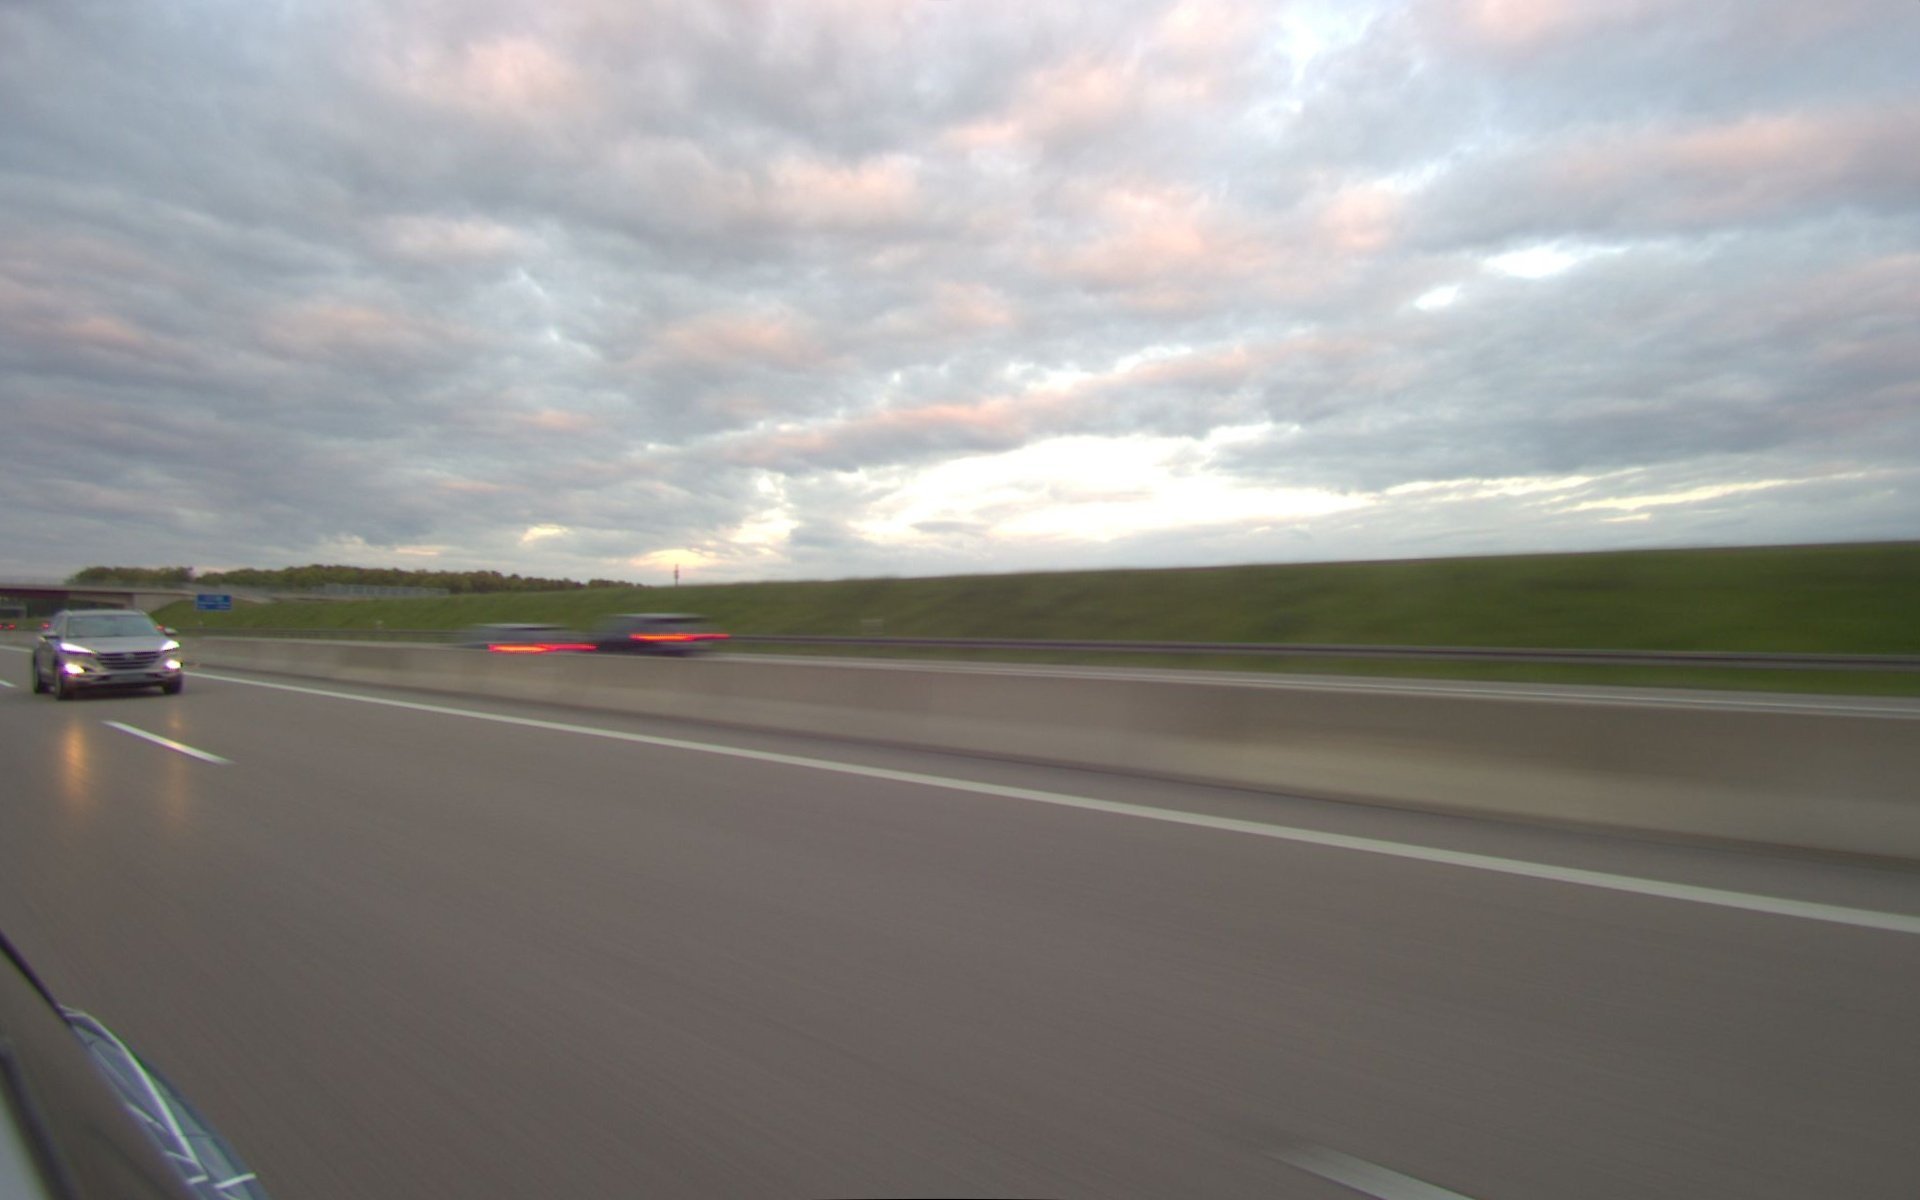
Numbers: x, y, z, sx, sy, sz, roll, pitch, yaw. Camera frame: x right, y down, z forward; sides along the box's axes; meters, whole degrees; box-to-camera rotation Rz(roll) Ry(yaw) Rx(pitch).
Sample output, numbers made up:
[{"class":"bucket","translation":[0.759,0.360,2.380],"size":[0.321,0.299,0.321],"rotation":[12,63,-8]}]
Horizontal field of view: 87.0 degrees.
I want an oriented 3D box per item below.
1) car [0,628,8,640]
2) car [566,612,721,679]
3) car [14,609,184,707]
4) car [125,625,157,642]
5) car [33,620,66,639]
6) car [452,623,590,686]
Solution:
[{"class":"car","translation":[-162.788,5.821,171.192],"size":[5.087,1.951,1.973],"rotation":[-2,-1,41]},{"class":"car","translation":[-9.471,1.304,30.063],"size":[5.018,1.824,2.078],"rotation":[-1,-2,40]},{"class":"car","translation":[-17.216,1.052,20.127],"size":[5.510,1.705,1.833],"rotation":[-1,-1,42]},{"class":"car","translation":[-77.249,3.160,95.483],"size":[4.424,1.529,1.614],"rotation":[-2,-1,41]},{"class":"car","translation":[-96.509,3.125,107.241],"size":[5.734,2.029,1.982],"rotation":[-2,-2,41]},{"class":"car","translation":[-11.624,1.379,26.687],"size":[4.128,1.510,1.720],"rotation":[-1,-1,41]}]
